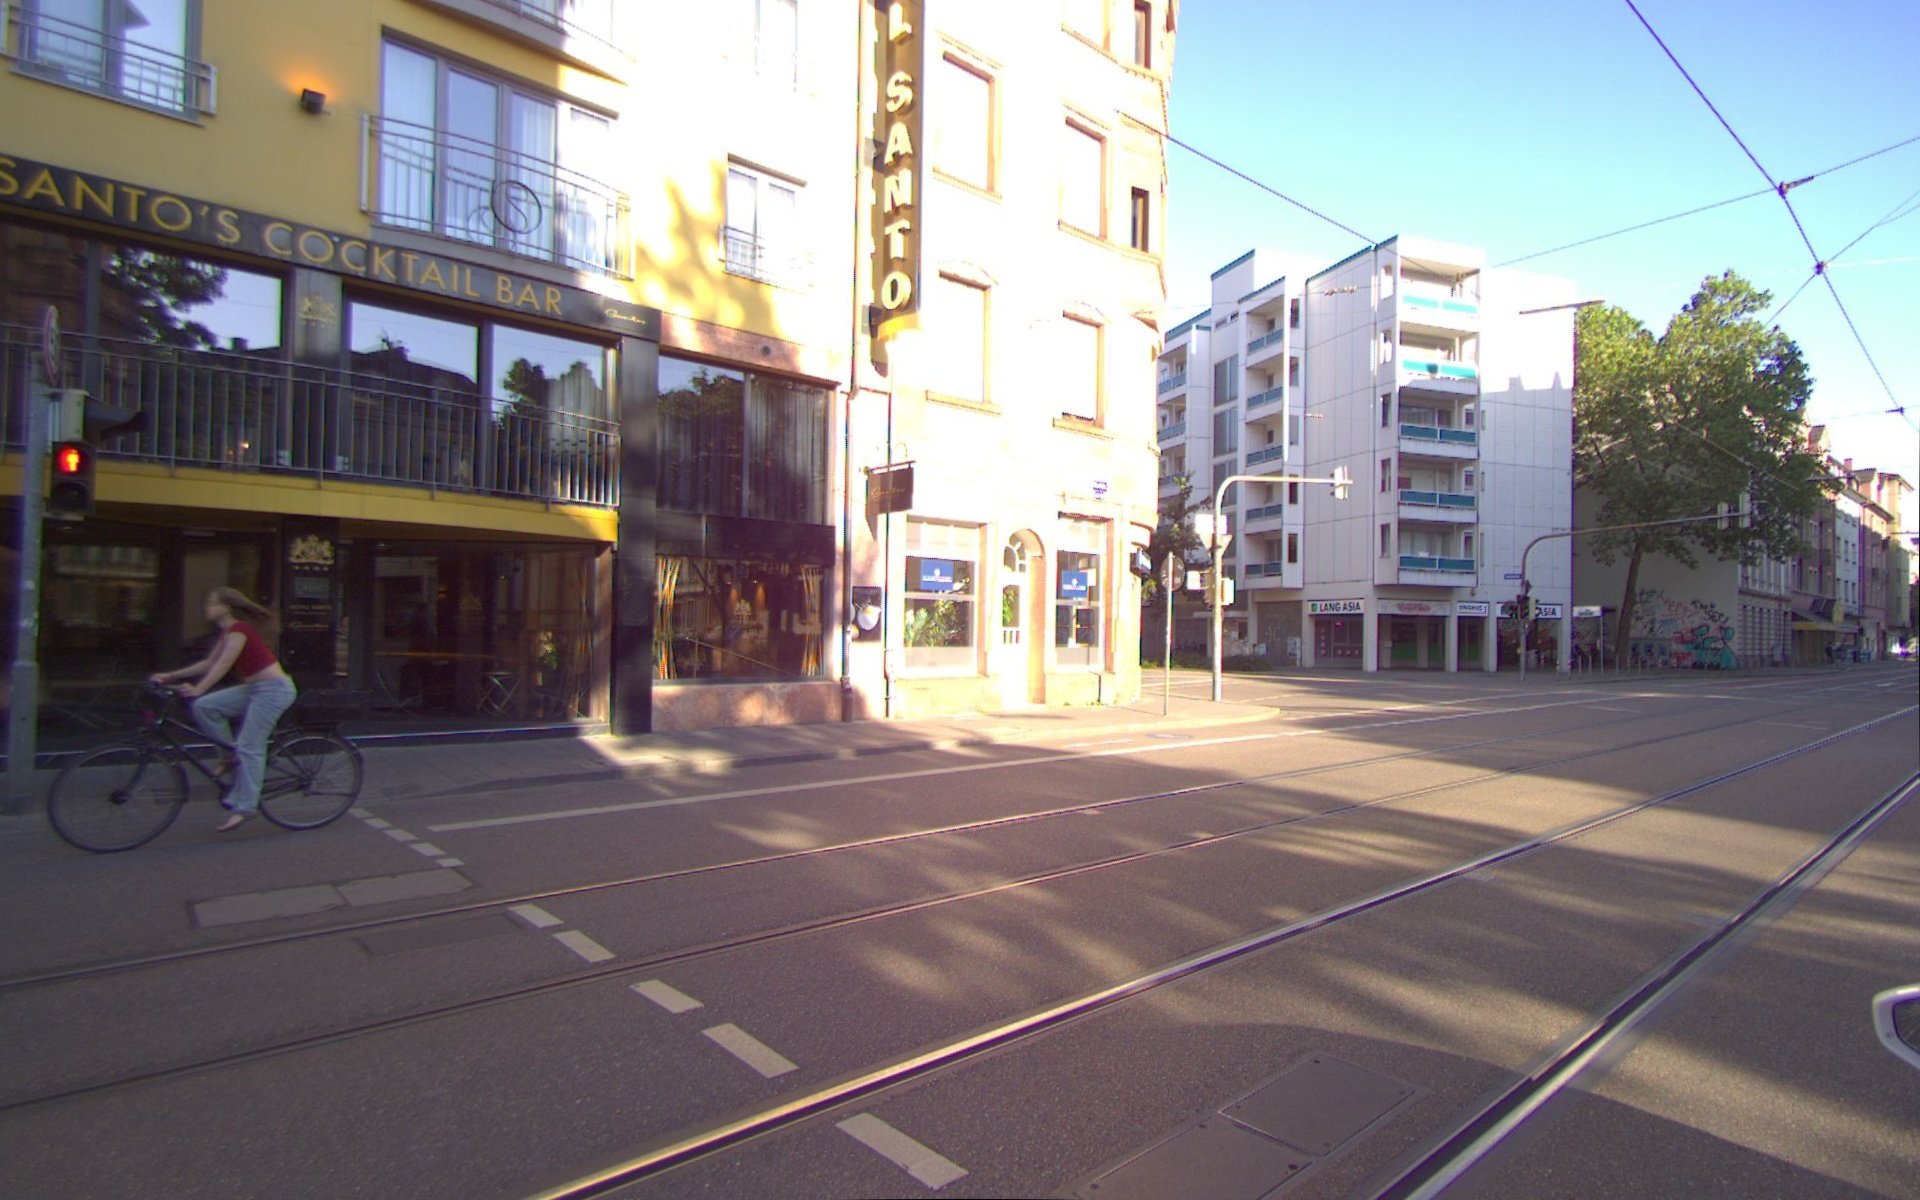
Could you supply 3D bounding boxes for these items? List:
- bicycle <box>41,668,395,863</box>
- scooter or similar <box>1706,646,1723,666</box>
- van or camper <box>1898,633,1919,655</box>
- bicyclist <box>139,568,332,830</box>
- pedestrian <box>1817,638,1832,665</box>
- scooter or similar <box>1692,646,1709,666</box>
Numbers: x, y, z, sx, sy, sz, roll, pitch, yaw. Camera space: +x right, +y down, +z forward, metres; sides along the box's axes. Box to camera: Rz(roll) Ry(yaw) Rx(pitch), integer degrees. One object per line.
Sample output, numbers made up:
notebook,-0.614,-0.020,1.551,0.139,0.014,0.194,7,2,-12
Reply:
bicycle,-5.074,1.057,6.967,1.885,1.124,0.690,3,-2,-43
scooter or similar,41.103,3.068,54.721,1.468,1.071,0.511,2,-2,-44
van or camper,115.050,5.256,119.574,4.557,2.597,2.001,1,-1,18
bicyclist,-5.038,0.649,6.993,0.983,1.665,0.695,2,-2,-42
pedestrian,57.868,3.458,67.231,0.643,1.751,0.695,2,-2,-41
scooter or similar,40.675,3.073,55.169,1.468,1.059,0.511,2,-2,-44
